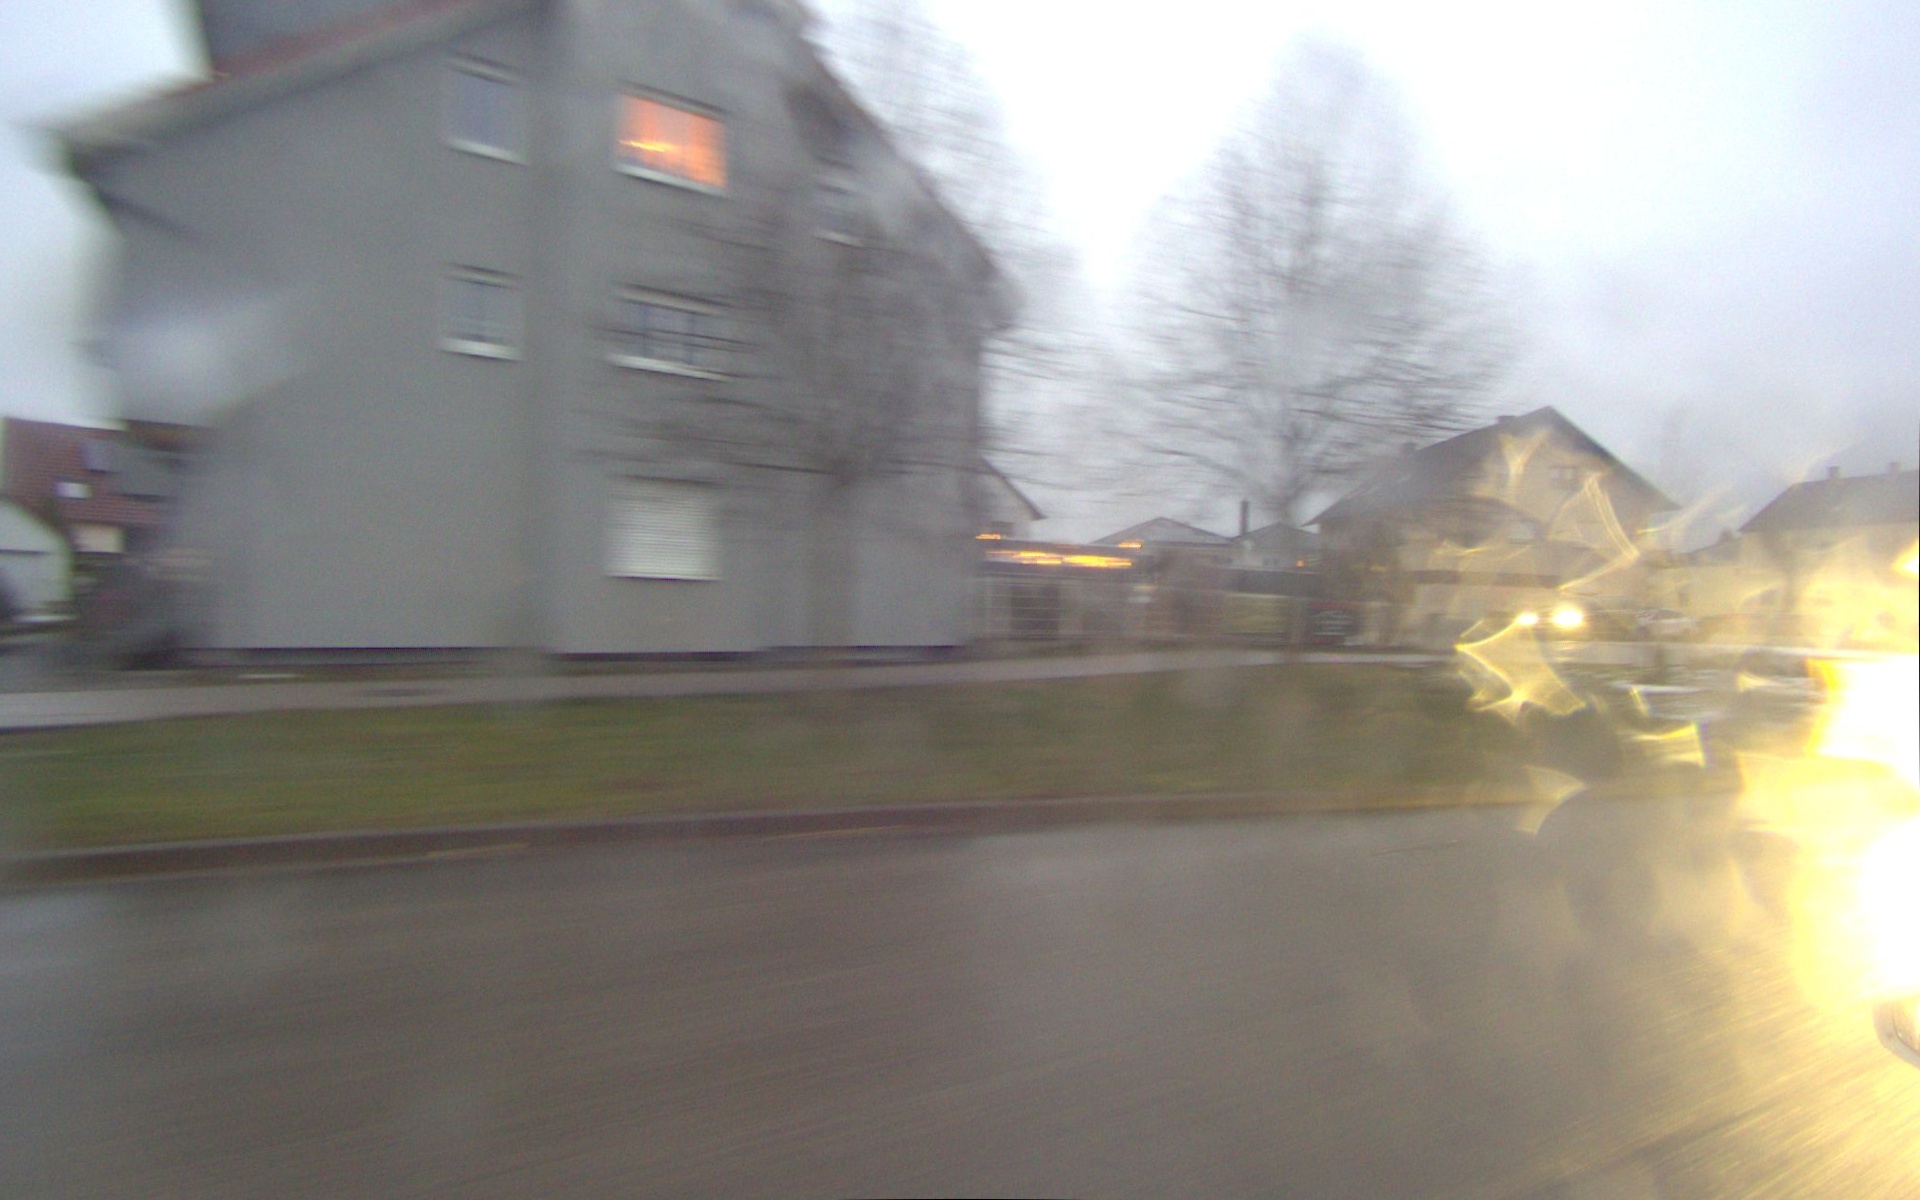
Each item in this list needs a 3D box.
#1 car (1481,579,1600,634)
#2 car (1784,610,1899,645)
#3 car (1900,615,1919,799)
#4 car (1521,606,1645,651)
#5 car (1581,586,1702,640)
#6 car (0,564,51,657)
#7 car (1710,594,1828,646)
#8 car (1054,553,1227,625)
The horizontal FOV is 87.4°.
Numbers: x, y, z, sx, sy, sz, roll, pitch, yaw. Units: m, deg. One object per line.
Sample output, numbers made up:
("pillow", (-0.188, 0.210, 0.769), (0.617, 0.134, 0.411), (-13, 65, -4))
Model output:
("car", (23.222, 0.268, 40.211), (3.937, 2.041, 1.916), (1, 2, -19))
("car", (39.946, 1.234, 45.536), (4.045, 1.325, 1.993), (2, 3, -16))
("car", (10.283, 0.927, 8.370), (4.502, 1.508, 1.903), (1, 0, -23))
("car", (21.915, 0.997, 35.331), (4.272, 1.457, 1.386), (1, 2, -21))
("car", (28.201, 0.529, 41.585), (4.157, 2.041, 1.991), (1, 2, -19))
("car", (-18.331, 0.102, 17.045), (3.953, 1.546, 1.899), (2, 1, -30))
("car", (35.076, 0.852, 43.588), (3.934, 2.041, 1.993), (2, 3, -16))
("car", (4.597, -0.274, 25.538), (3.954, 1.673, 1.983), (1, 3, -31))
